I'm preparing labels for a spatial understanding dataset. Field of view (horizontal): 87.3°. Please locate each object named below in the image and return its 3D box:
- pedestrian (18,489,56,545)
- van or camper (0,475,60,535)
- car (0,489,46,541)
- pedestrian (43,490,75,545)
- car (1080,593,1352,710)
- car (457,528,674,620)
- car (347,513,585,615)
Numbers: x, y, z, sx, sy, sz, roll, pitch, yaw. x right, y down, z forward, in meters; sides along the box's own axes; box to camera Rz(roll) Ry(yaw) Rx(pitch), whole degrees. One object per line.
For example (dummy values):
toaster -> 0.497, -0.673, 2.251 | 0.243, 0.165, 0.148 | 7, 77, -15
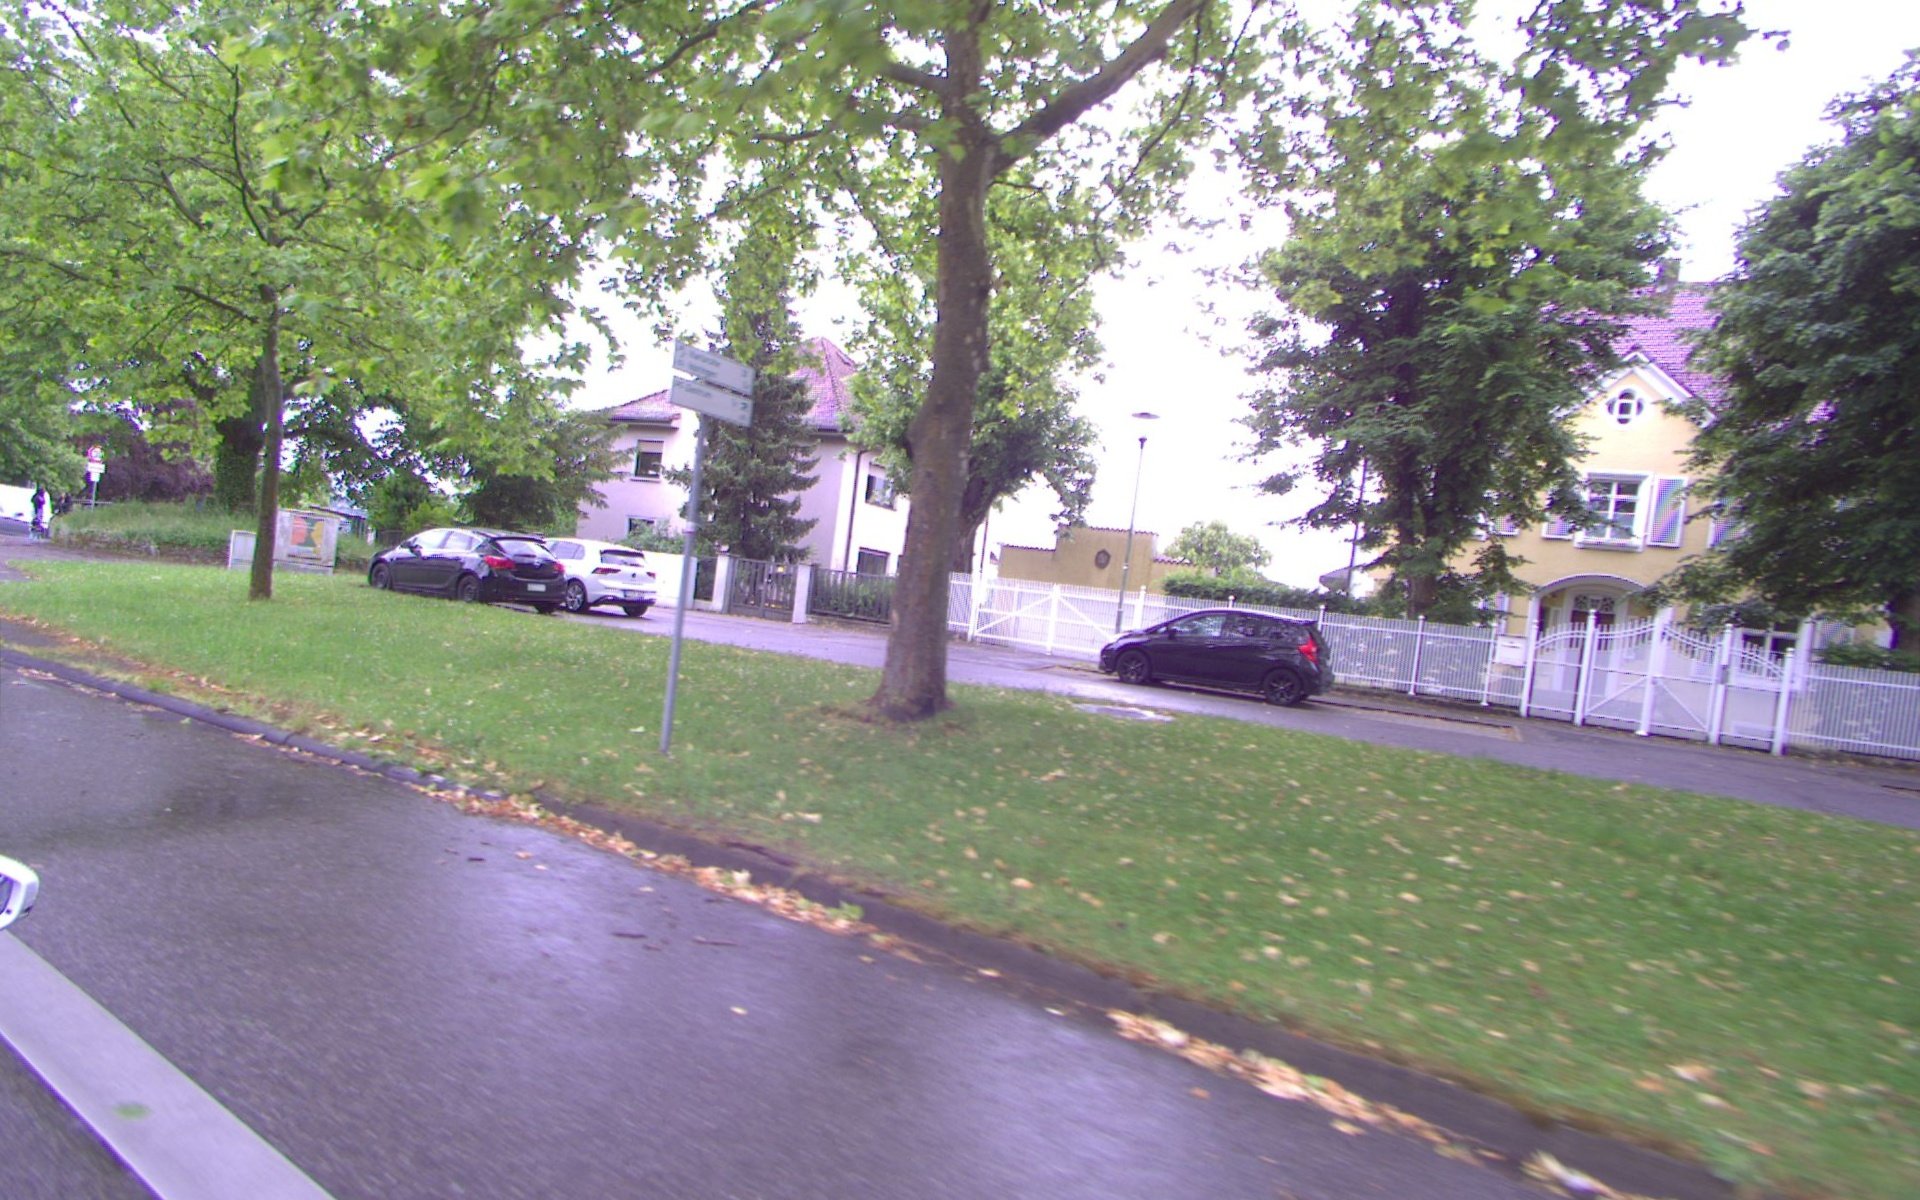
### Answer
pedestrian -> -30.491, -2.736, 33.245 | 0.624, 1.733, 0.530 | 6, -1, 17
van or camper -> -44.708, -4.580, 45.648 | 2.159, 2.405, 5.674 | 7, -2, 3
car -> -35.549, -3.242, 36.257 | 1.968, 1.703, 4.026 | 7, -2, -12
pedestrian -> -30.642, -2.800, 34.217 | 0.632, 1.733, 0.523 | 7, -1, -43
car -> 4.510, 0.896, 17.817 | 4.280, 1.488, 1.766 | 6, -2, 27
car -> -8.370, -0.559, 21.259 | 4.350, 1.490, 1.847 | 6, 1, 29
car -> -9.383, -0.690, 19.003 | 4.520, 1.490, 1.765 | 6, 2, 30
